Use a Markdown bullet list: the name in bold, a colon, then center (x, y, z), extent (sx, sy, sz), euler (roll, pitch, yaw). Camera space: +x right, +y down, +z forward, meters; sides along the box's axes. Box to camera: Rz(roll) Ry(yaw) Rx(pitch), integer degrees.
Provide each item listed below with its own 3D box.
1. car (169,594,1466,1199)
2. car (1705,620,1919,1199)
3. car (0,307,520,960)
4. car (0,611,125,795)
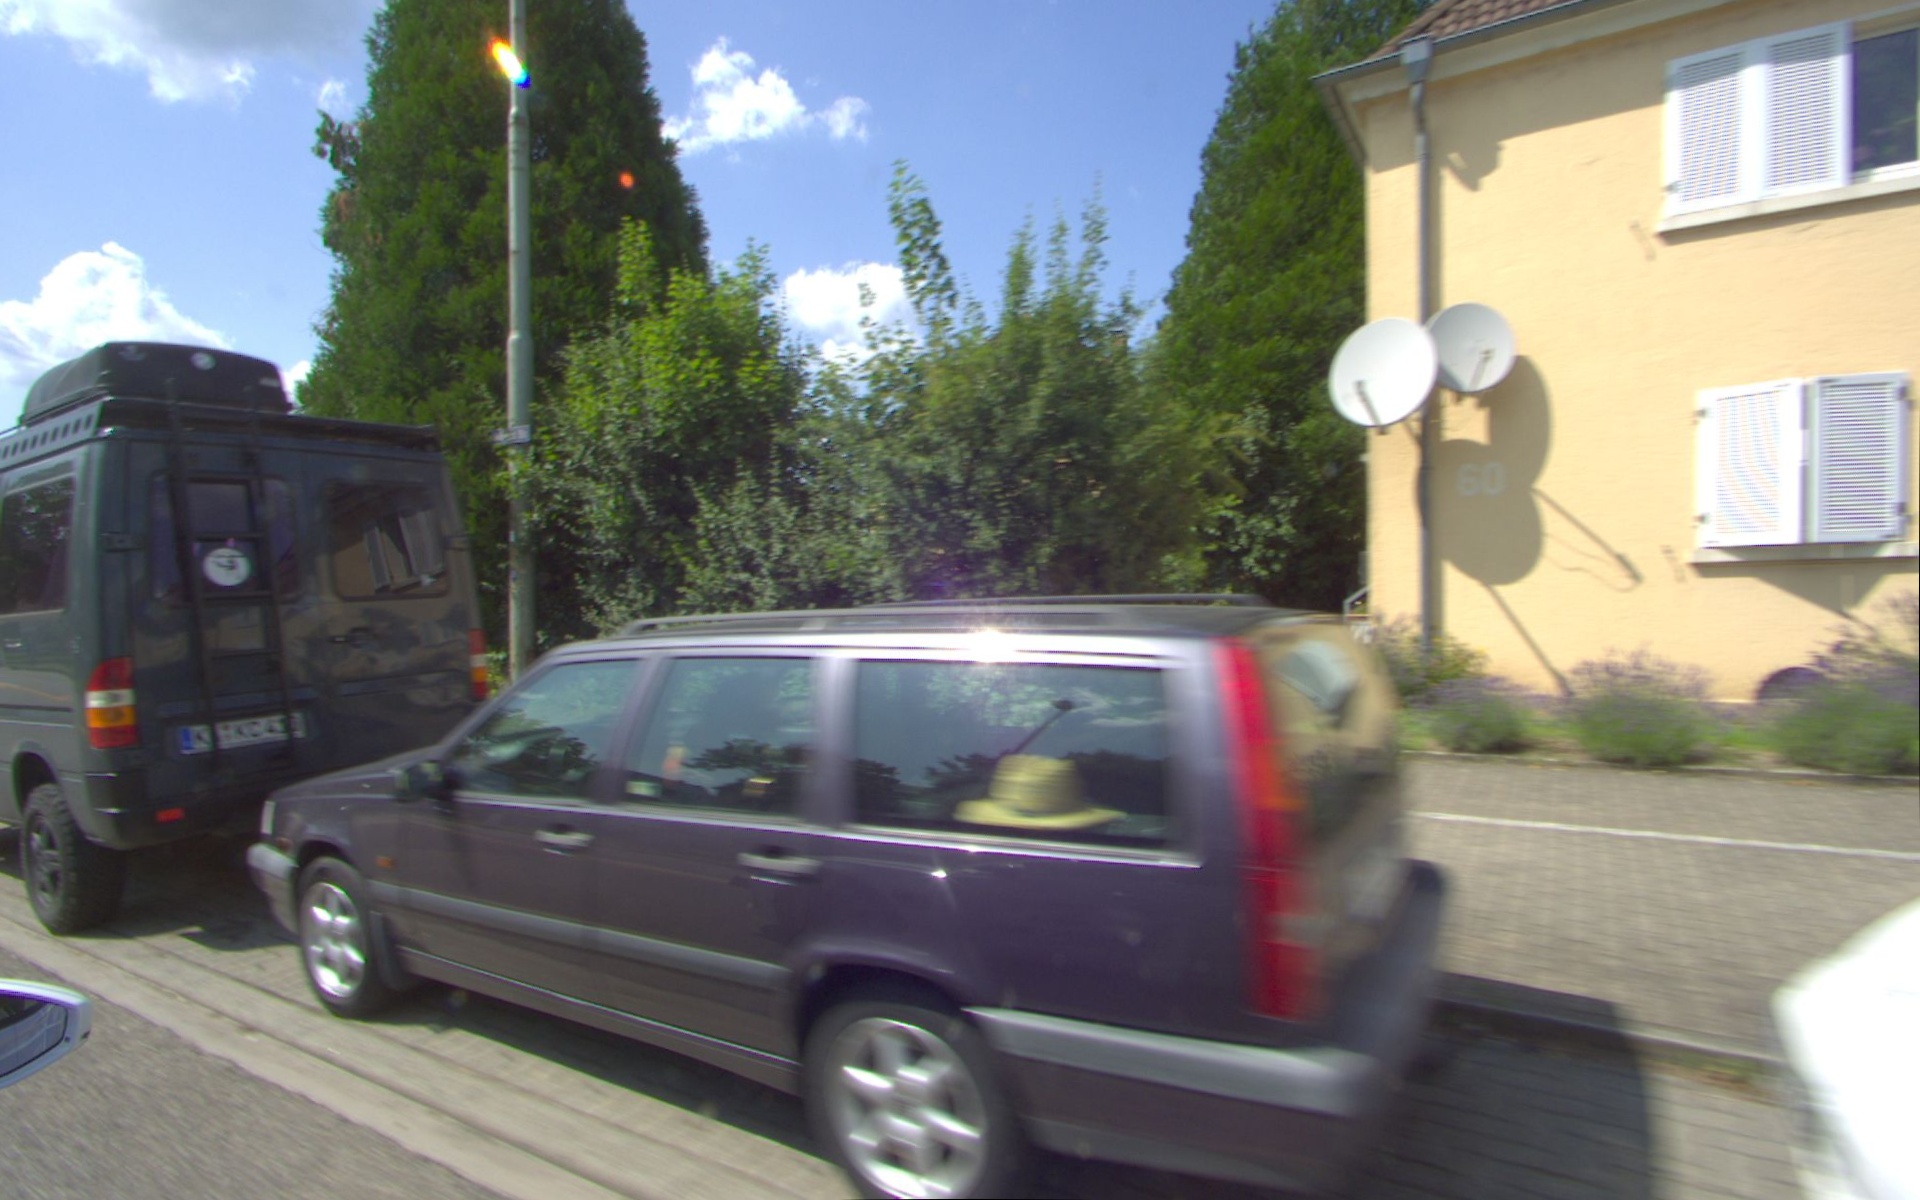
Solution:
- **car**: center (-0.876, 0.748, 3.699), extent (4.768, 1.421, 1.716), euler (-1, 1, 33)
- **car**: center (3.356, 0.706, 0.973), extent (4.069, 1.313, 1.717), euler (-1, 1, 32)
- **car**: center (-5.222, 0.167, 6.428), extent (4.809, 2.798, 1.991), euler (-1, 2, 33)
- **car**: center (-10.008, 0.935, 9.594), extent (4.291, 1.536, 1.688), euler (-1, 1, 30)
